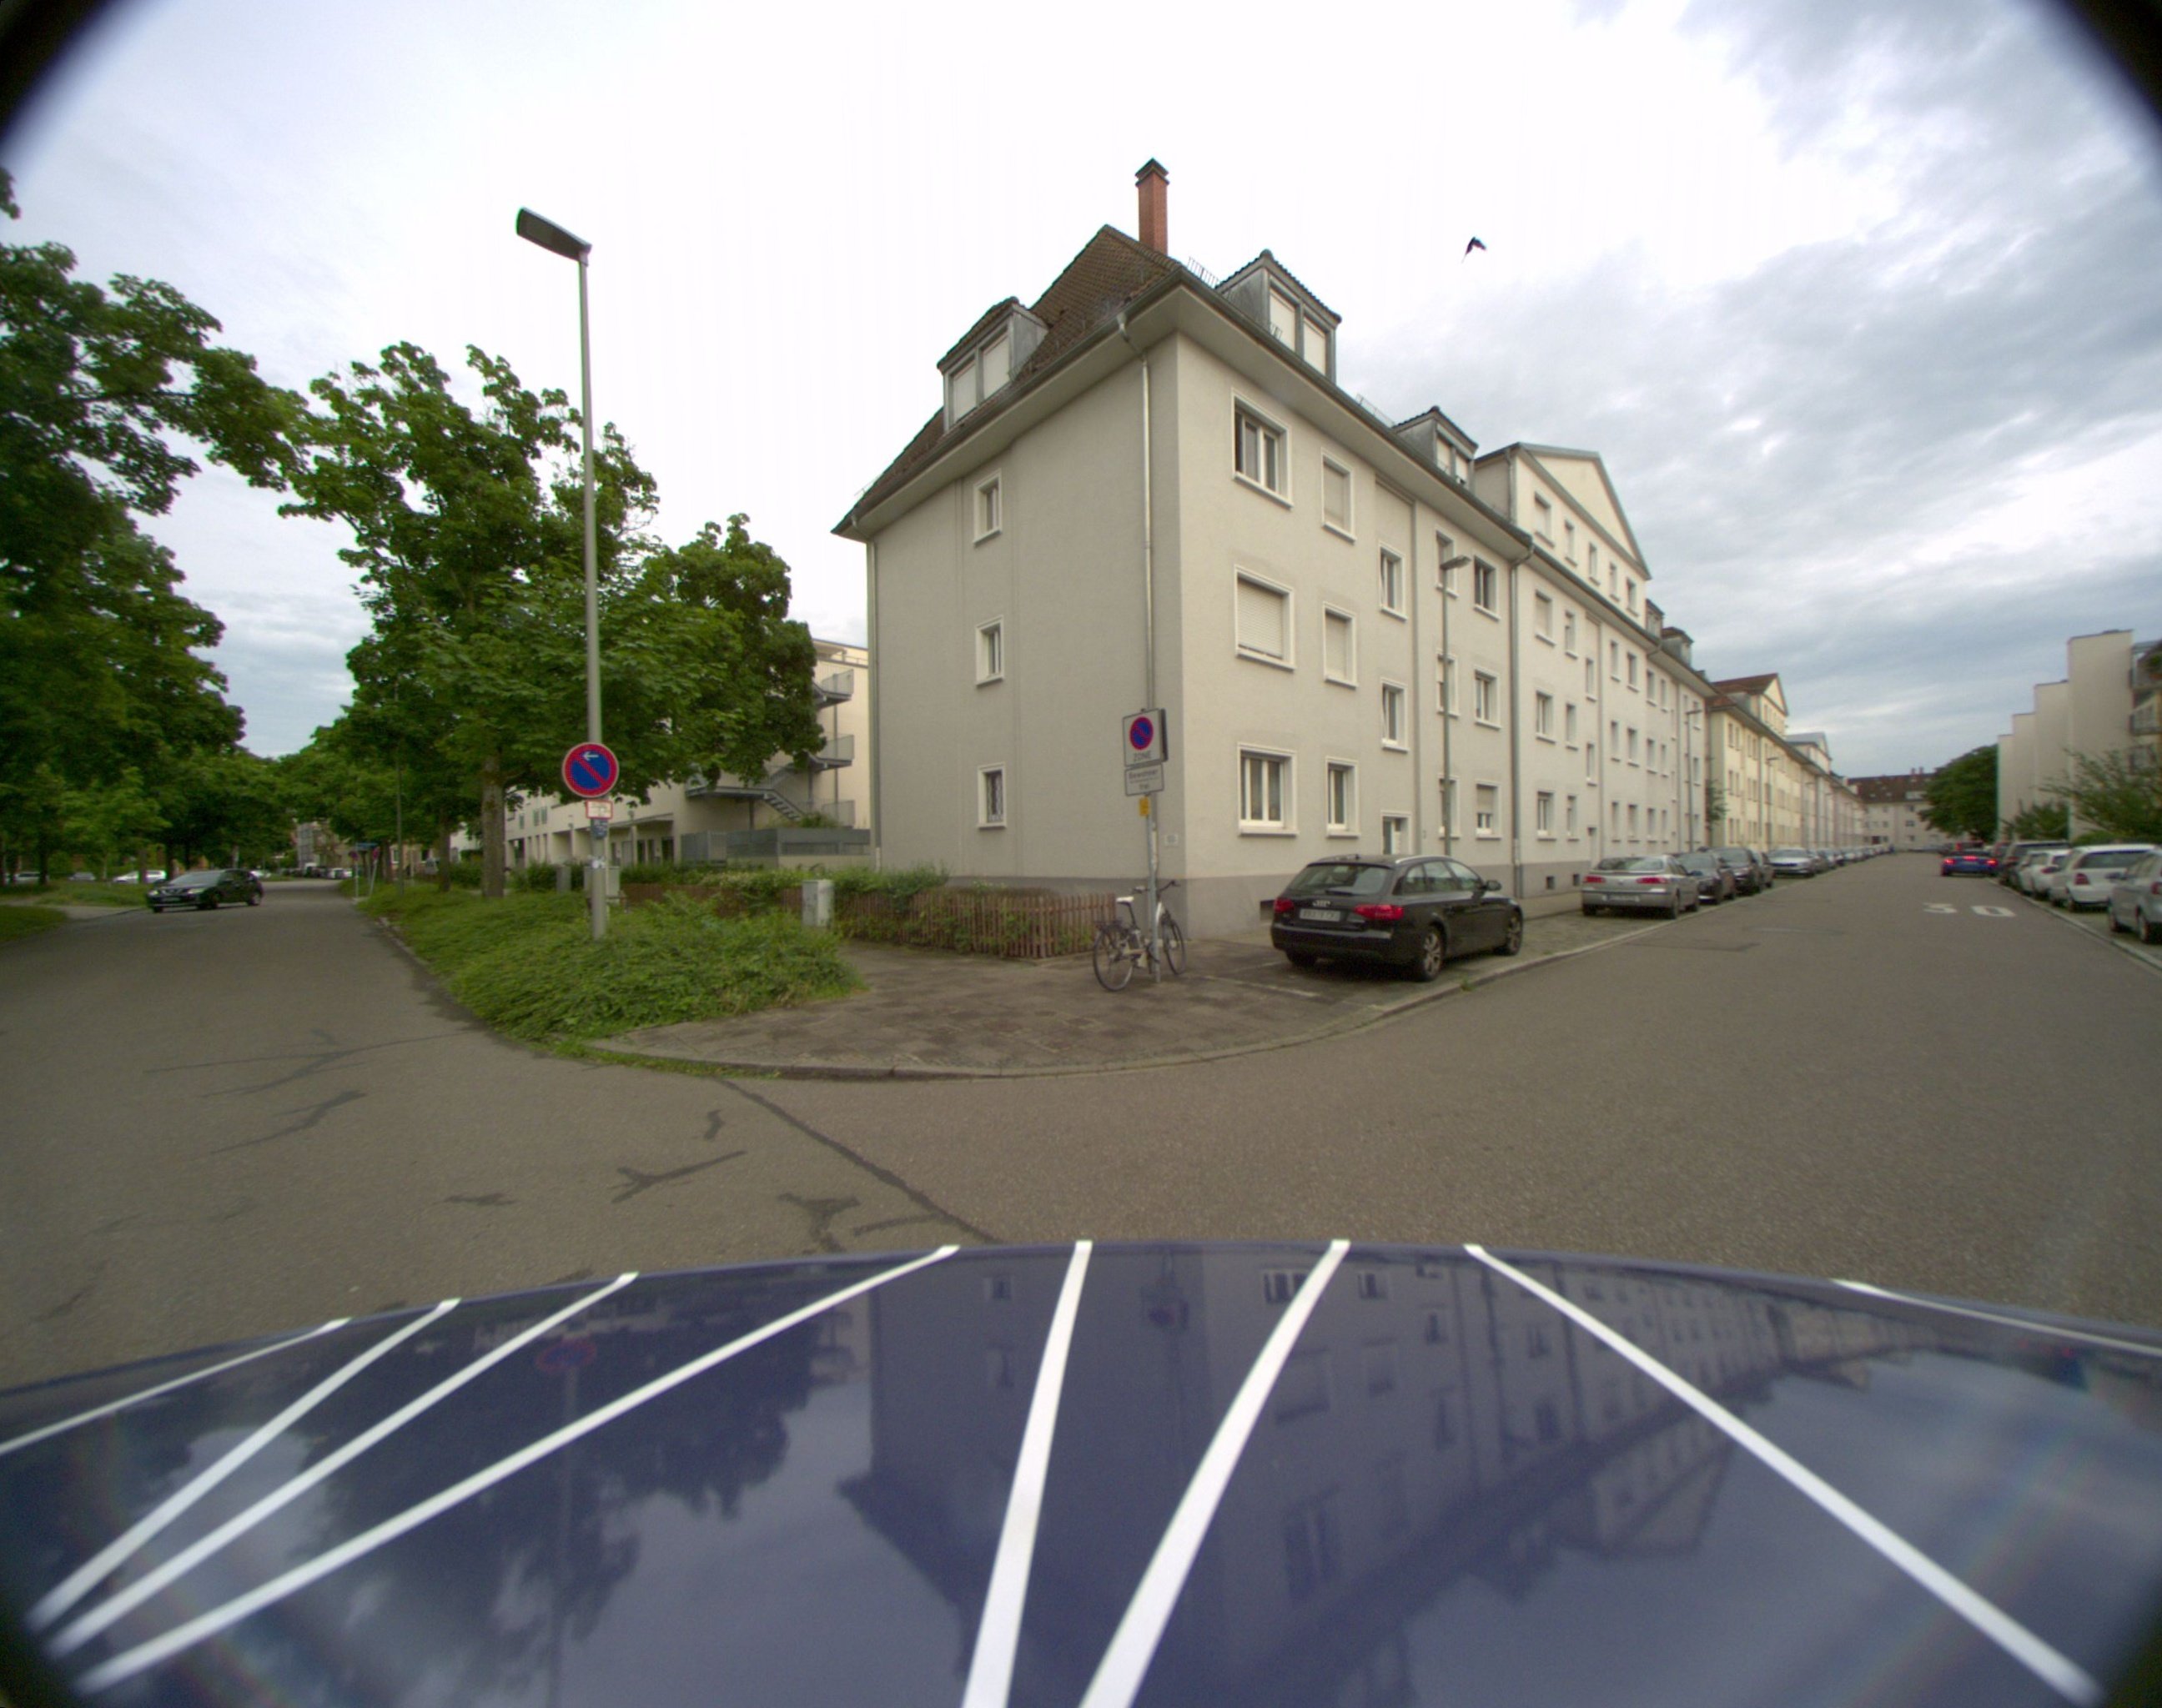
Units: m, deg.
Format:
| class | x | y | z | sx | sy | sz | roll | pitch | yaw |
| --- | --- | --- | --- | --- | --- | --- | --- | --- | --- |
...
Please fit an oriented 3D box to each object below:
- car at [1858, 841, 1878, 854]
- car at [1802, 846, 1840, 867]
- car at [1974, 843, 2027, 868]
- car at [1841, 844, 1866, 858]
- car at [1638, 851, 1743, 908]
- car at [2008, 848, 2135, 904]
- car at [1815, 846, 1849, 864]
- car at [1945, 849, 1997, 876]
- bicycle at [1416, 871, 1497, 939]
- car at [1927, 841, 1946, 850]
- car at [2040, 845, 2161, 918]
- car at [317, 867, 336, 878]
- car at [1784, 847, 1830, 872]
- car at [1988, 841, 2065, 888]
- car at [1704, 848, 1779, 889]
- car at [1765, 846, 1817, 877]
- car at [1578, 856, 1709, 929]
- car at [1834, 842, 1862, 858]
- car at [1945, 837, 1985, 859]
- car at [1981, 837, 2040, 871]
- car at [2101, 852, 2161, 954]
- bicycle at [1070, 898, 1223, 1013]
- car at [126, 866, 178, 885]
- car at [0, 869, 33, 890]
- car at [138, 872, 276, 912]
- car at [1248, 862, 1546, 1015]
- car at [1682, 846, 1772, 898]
| class | x | y | z | sx | sy | sz | roll | pitch | yaw |
| --- | --- | --- | --- | --- | --- | --- | --- | --- | --- |
| car | 100.788 | -0.846 | 97.293 | 3.599 | 1.670 | 1.733 | -1 | 1 | -44 |
| car | 51.858 | 0.140 | 53.240 | 4.226 | 1.402 | 1.733 | -1 | 1 | -44 |
| car | 55.294 | 0.086 | 45.734 | 3.550 | 1.436 | 1.703 | 0 | 0 | -45 |
| car | 79.183 | -0.290 | 77.822 | 4.226 | 1.443 | 1.733 | -1 | 1 | -44 |
| car | 17.532 | 0.664 | 21.781 | 4.332 | 1.454 | 1.782 | -1 | 1 | -44 |
| car | 29.261 | 0.592 | 22.588 | 4.697 | 1.501 | 1.719 | 0 | 0 | -45 |
| car | 57.665 | 0.074 | 58.337 | 4.226 | 1.363 | 1.733 | -1 | 1 | -44 |
| car | 45.610 | 0.410 | 39.008 | 3.916 | 1.307 | 1.676 | 0 | 0 | -41 |
| bicycle | 7.398 | 0.966 | 14.948 | 1.899 | 1.193 | 0.749 | -1 | 2 | -42 |
| car | 149.771 | -1.458 | 133.039 | 1.741 | 1.534 | 3.646 | -1 | 0 | 42 |
| car | 25.215 | 0.604 | 18.691 | 3.735 | 1.629 | 1.686 | -1 | 0 | -44 |
| car | -117.077 | 2.837 | 117.869 | 3.651 | 1.754 | 1.789 | -1 | 0 | 39 |
| car | 43.581 | 0.300 | 45.599 | 4.226 | 1.418 | 1.733 | -1 | 1 | -43 |
| car | 37.509 | 0.392 | 30.215 | 4.461 | 1.769 | 1.571 | 0 | 0 | -43 |
| car | 25.231 | 0.507 | 28.998 | 3.764 | 1.478 | 1.733 | -1 | 1 | -42 |
| car | 36.994 | 0.359 | 39.565 | 3.685 | 1.538 | 1.733 | -1 | 1 | -44 |
| car | 13.252 | 0.794 | 17.805 | 4.440 | 1.454 | 1.733 | -1 | 1 | -44 |
| car | 71.907 | -0.366 | 71.236 | 4.226 | 1.443 | 1.733 | -1 | 1 | -44 |
| car | 84.921 | -0.549 | 73.030 | 4.432 | 2.019 | 2.183 | 0 | 0 | -45 |
| car | 50.734 | -0.008 | 41.529 | 3.550 | 1.795 | 1.703 | 0 | 0 | -45 |
| car | 18.635 | 0.741 | 12.608 | 3.923 | 1.541 | 1.655 | -1 | -2 | -42 |
| bicycle | 0.784 | 1.083 | 8.564 | 1.892 | 0.998 | 0.567 | -3 | 4 | -42 |
| car | -97.514 | 2.251 | 79.782 | 1.806 | 1.913 | 3.320 | -1 | 1 | 37 |
| car | -103.334 | 2.476 | 72.811 | 1.806 | 1.913 | 3.320 | -1 | 1 | 37 |
| car | -36.430 | 1.529 | 31.855 | 2.002 | 1.477 | 4.532 | 0 | 0 | -23 |
| car | 4.350 | 0.879 | 10.018 | 4.735 | 1.454 | 1.861 | -1 | 1 | -44 |
| car | 21.647 | 0.546 | 25.402 | 4.168 | 1.589 | 1.849 | -1 | 1 | -44 |
